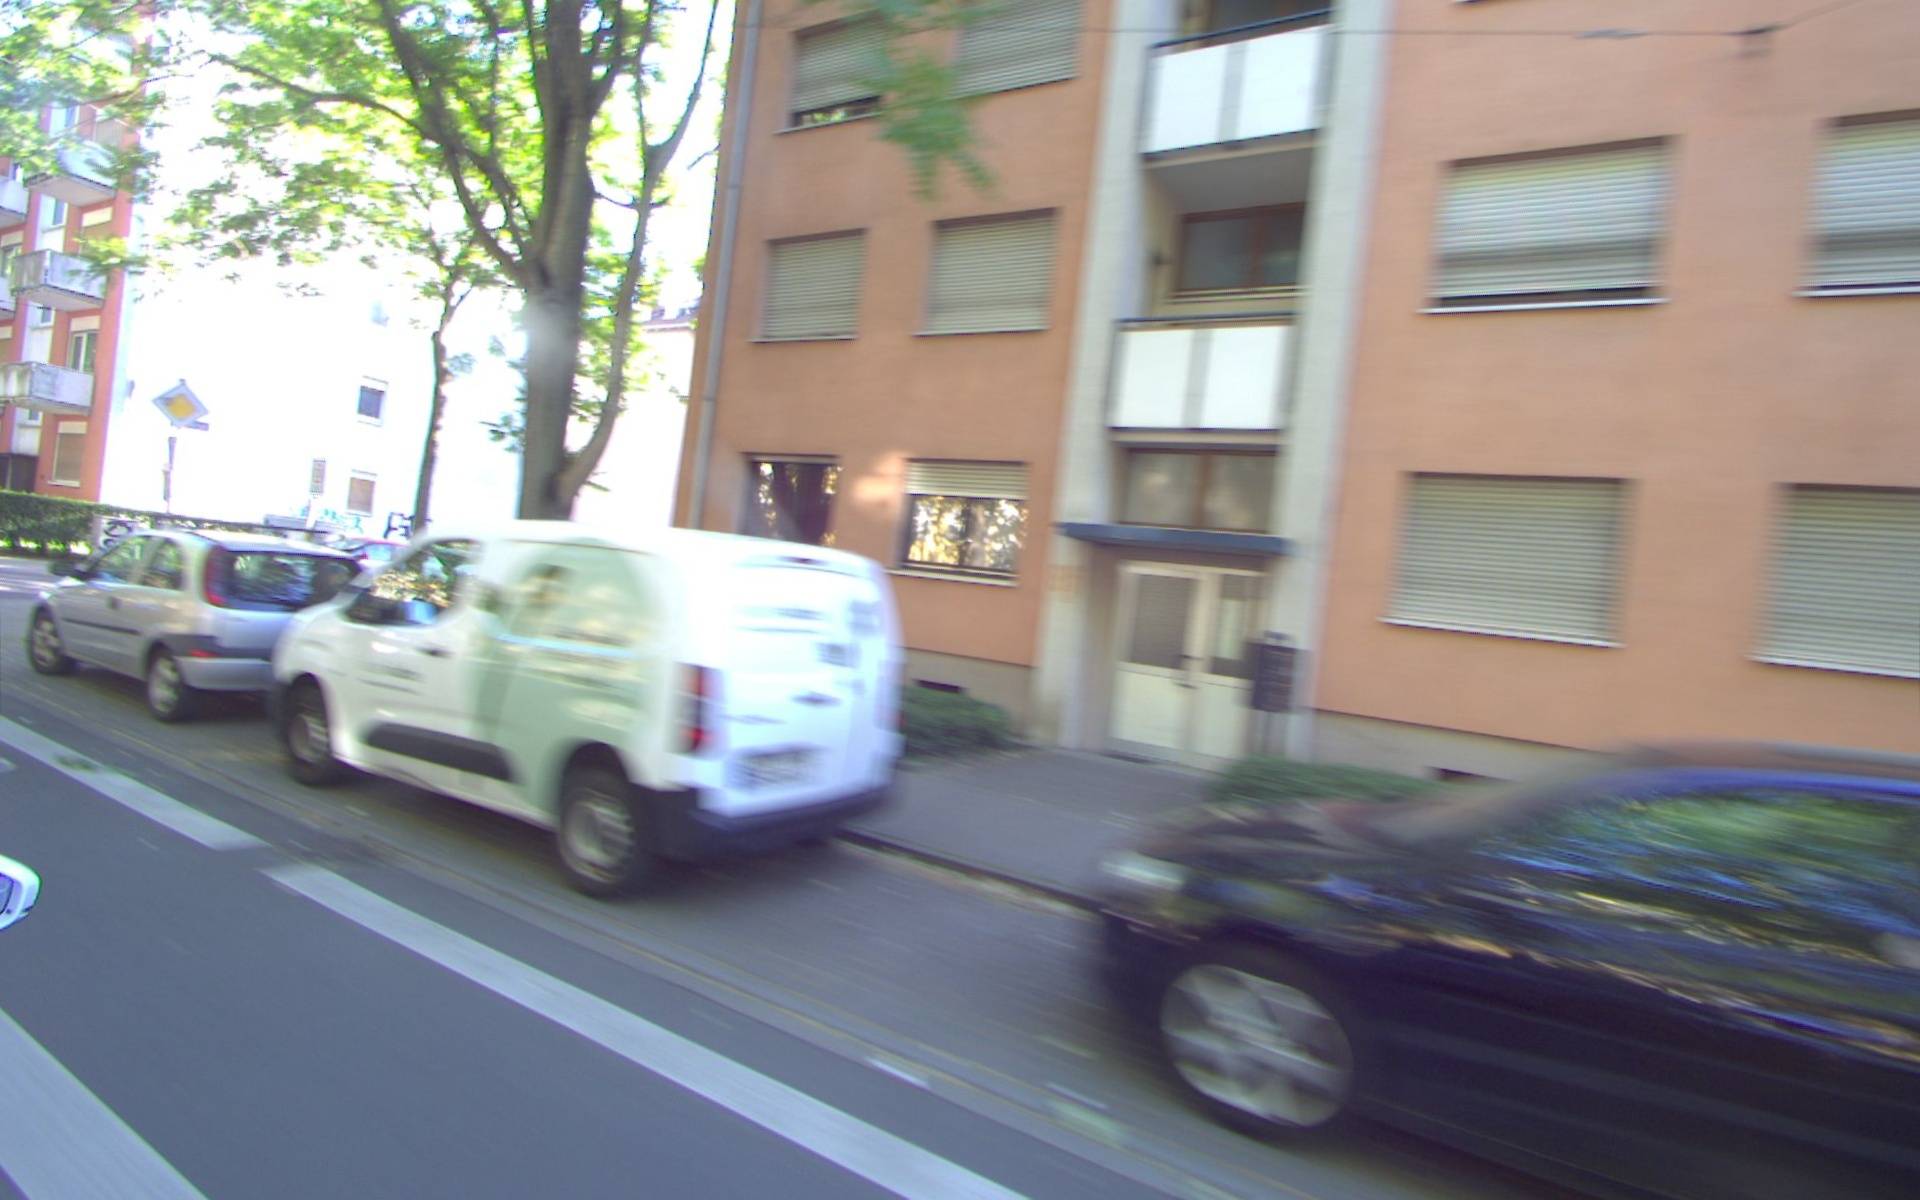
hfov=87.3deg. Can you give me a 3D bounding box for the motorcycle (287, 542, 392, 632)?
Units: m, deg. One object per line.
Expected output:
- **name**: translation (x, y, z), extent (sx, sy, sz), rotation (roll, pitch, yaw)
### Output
- **motorcycle**: translation (-10.612, -0.242, 17.169), extent (2.224, 1.314, 0.678), rotation (6, 0, 38)

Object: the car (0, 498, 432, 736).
- **car**: translation (-6.655, 0.080, 8.840), extent (3.933, 1.491, 1.707), rotation (7, 0, 32)

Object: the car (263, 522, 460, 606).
- **car**: translation (-15.037, -0.862, 25.477), extent (1.535, 1.500, 3.920), rotation (10, 1, 30)

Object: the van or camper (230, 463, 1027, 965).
- **van or camper**: translation (-2.193, 0.353, 6.044), extent (4.750, 1.887, 1.757), rotation (7, 0, 32)

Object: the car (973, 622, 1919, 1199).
- **car**: translation (2.299, 1.090, 3.357), extent (4.099, 1.491, 1.707), rotation (7, 0, 32)

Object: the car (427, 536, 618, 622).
- **car**: translation (-12.687, -0.548, 29.513), extent (1.971, 1.815, 4.729), rotation (10, 1, 30)

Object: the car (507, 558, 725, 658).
- **car**: translation (-7.291, 0.186, 21.603), extent (3.926, 1.559, 1.727), rotation (7, 0, 0)
